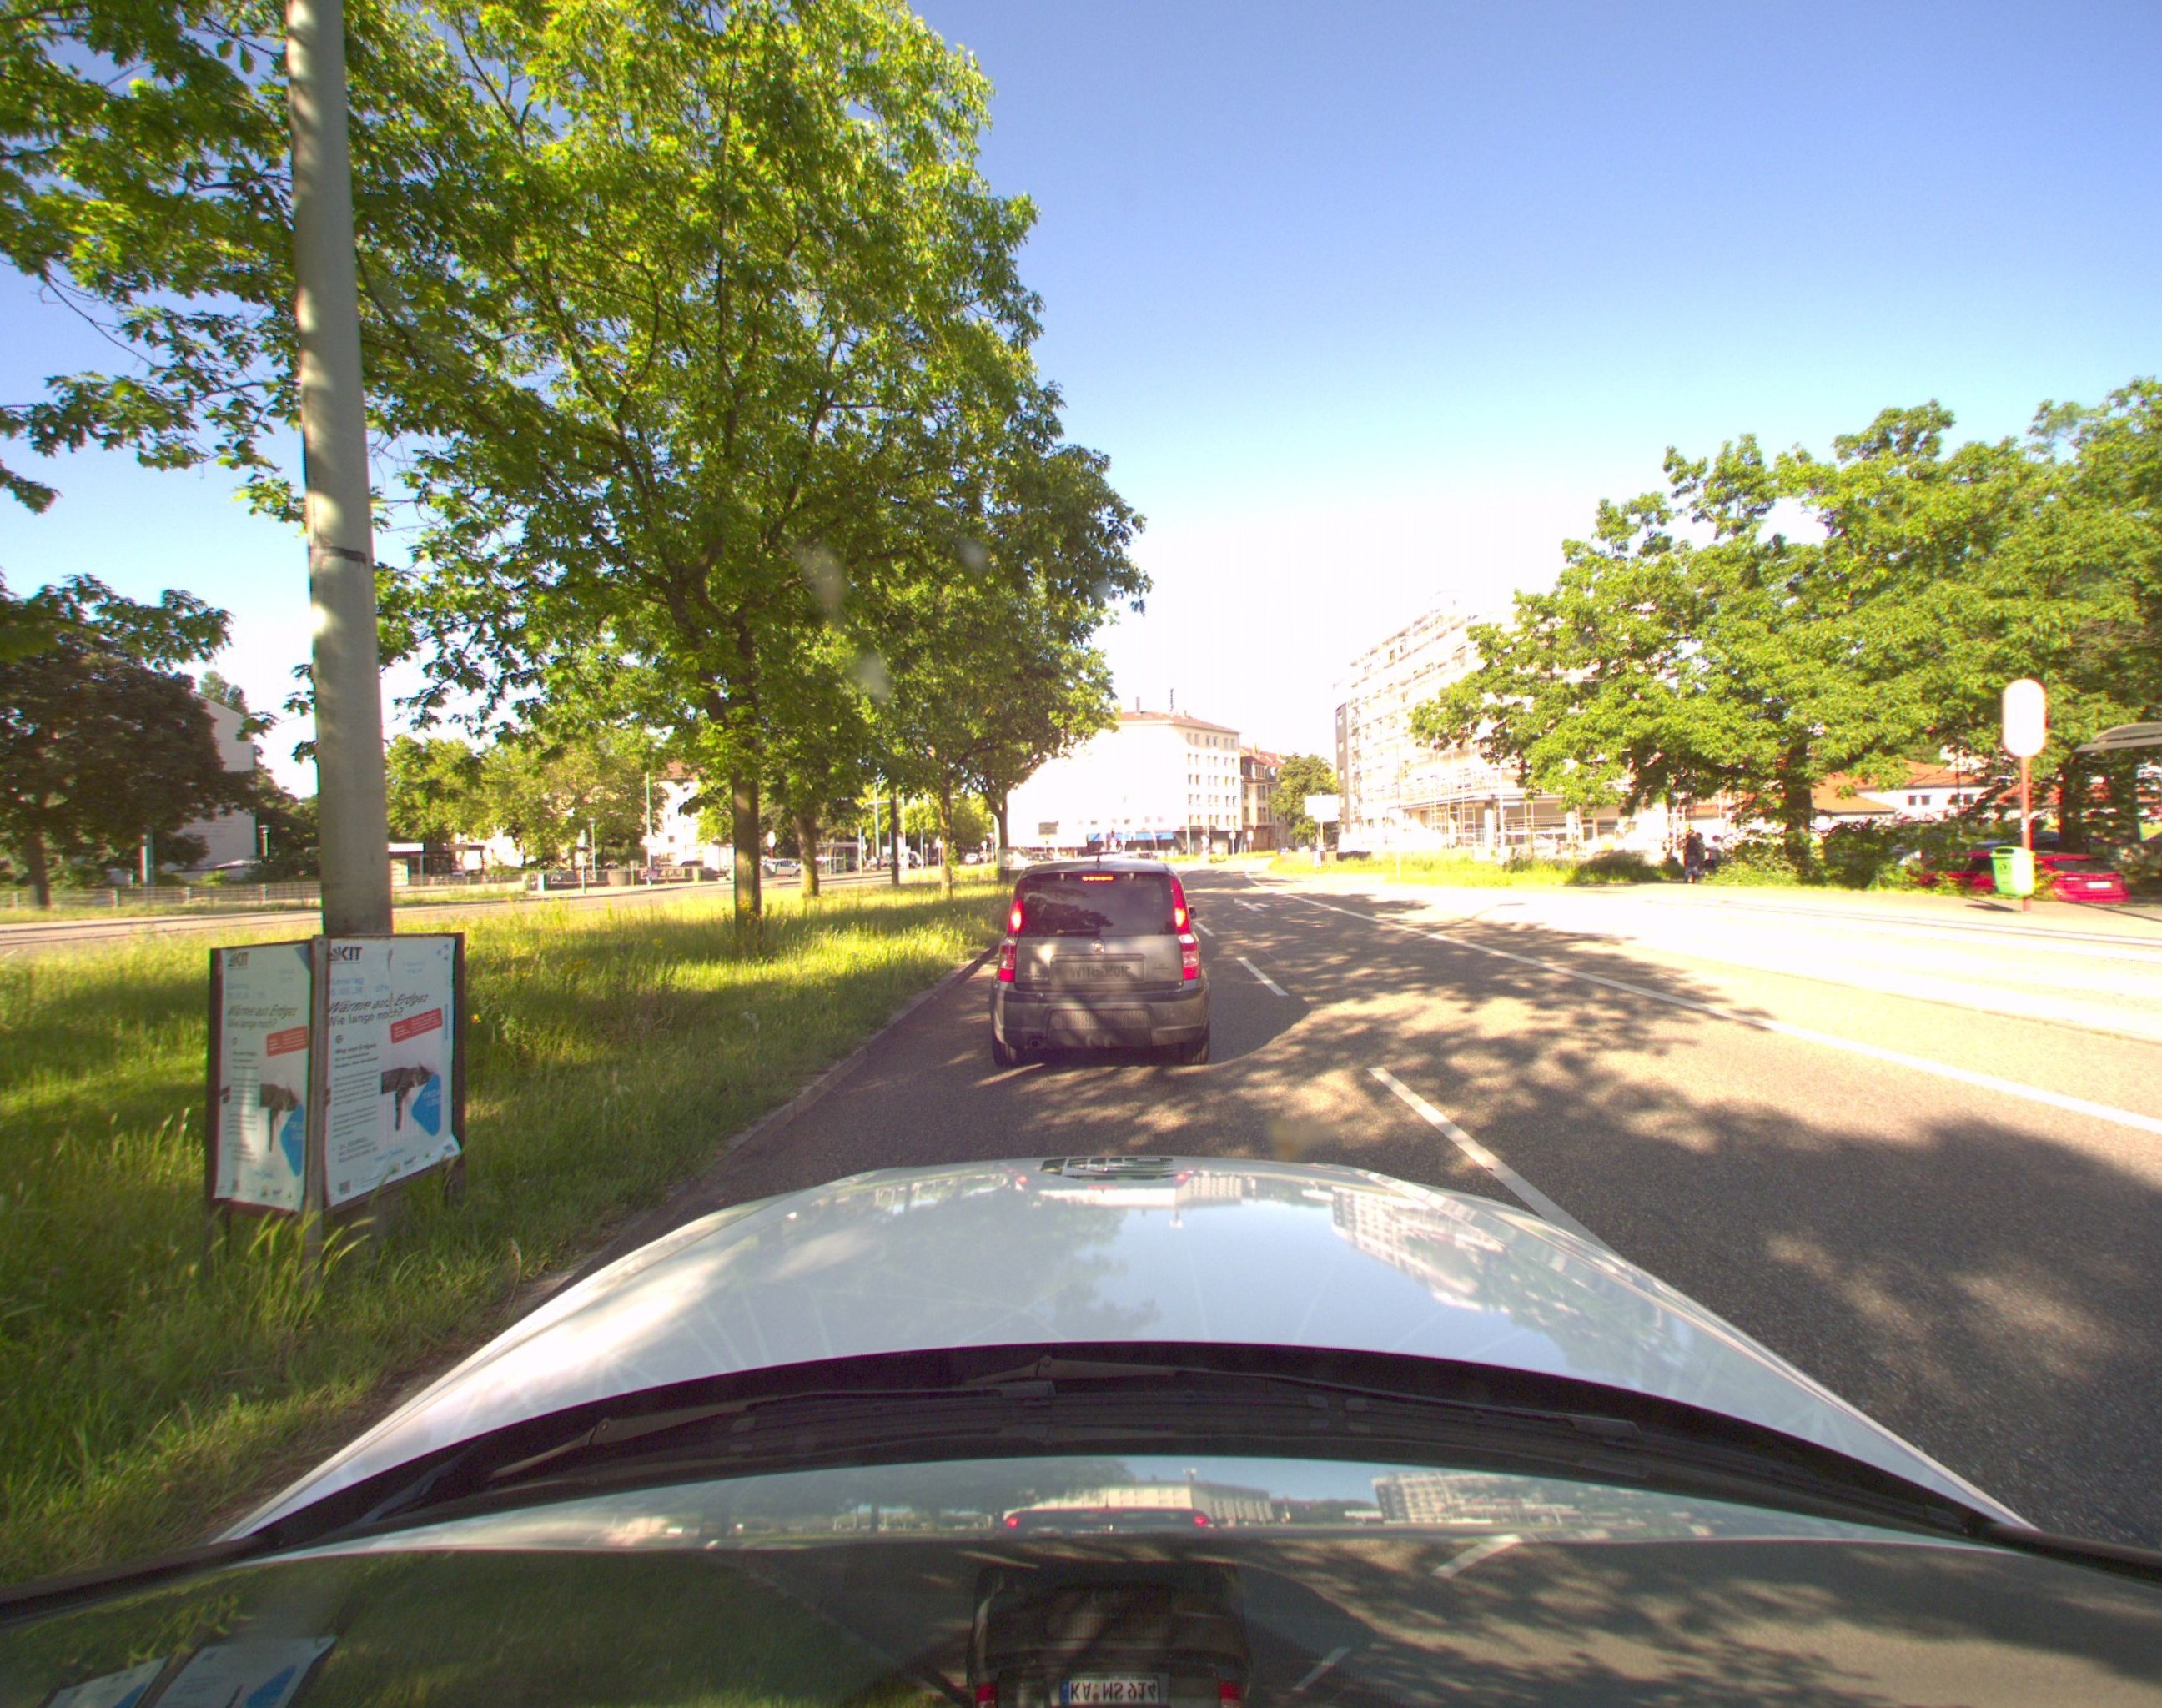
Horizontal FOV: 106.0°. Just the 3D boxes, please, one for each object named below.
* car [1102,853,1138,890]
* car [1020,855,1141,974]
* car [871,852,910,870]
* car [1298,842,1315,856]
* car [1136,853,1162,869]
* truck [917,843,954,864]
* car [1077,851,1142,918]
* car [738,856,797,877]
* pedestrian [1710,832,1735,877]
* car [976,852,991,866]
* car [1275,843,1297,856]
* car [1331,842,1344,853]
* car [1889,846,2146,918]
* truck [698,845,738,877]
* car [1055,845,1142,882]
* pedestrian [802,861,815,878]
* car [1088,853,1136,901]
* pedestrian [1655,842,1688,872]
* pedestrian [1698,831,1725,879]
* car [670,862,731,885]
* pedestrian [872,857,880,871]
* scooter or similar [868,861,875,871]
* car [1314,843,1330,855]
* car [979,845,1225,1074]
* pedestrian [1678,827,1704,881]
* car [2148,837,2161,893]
[{"bbox_3d":[1.601,0.691,33.968,1.351,1.449,3.267,-2,0,2],"label":"car"},{"bbox_3d":[0.050,0.750,11.763,1.458,1.401,3.395,-2,0,2],"label":"car"},{"bbox_3d":[-23.163,0.867,99.027,4.164,2.013,1.931,-2,0,-1],"label":"car"},{"bbox_3d":[24.913,-0.539,89.998,1.669,1.449,3.588,-2,0,18],"label":"car"},{"bbox_3d":[4.862,0.507,57.717,1.133,1.064,2.735,-2,0,19],"label":"car"},{"bbox_3d":[-23.011,-0.143,128.571,5.425,3.168,2.358,-2,0,30],"label":"truck"},{"bbox_3d":[0.722,0.698,20.683,1.458,1.508,3.506,-2,0,2],"label":"car"},{"bbox_3d":[-27.320,1.068,71.067,1.974,1.684,4.348,-2,0,40],"label":"car"},{"bbox_3d":[20.897,0.013,26.549,0.516,1.447,0.595,-2,0,28],"label":"pedestrian"},{"bbox_3d":[-14.845,0.709,124.160,1.988,2.013,3.997,-2,0,-2],"label":"car"},{"bbox_3d":[23.208,-0.506,92.192,1.666,1.449,3.593,-2,0,26],"label":"car"},{"bbox_3d":[35.257,-0.890,111.885,1.514,1.469,3.304,-2,0,20],"label":"car"},{"bbox_3d":[21.987,0.597,19.376,1.747,1.486,3.743,-2,0,-2],"label":"car"},{"bbox_3d":[-33.077,0.632,74.203,2.012,2.805,3.951,-2,0,-44],"label":"truck"},{"bbox_3d":[0.998,0.534,44.500,4.417,1.648,1.837,-4,-5,11],"label":"car"},{"bbox_3d":[-26.336,1.486,78.653,0.910,1.607,0.802,-2,0,41],"label":"pedestrian"},{"bbox_3d":[1.028,0.727,27.350,1.458,1.424,3.383,-2,0,2],"label":"car"},{"bbox_3d":[29.509,0.141,40.682,0.894,1.447,0.960,-2,0,-17],"label":"pedestrian"},{"bbox_3d":[19.135,0.028,24.725,0.516,1.447,0.595,-2,0,28],"label":"pedestrian"},{"bbox_3d":[-31.193,1.601,66.831,1.974,1.684,4.025,-2,0,40],"label":"car"},{"bbox_3d":[-19.940,0.963,79.170,0.411,1.391,0.630,-2,0,28],"label":"pedestrian"},{"bbox_3d":[-20.209,1.194,78.656,0.416,0.927,0.537,-2,0,28],"label":"scooter or similar"},{"bbox_3d":[27.624,-0.590,93.428,1.514,1.314,3.304,-2,0,20],"label":"car"},{"bbox_3d":[0.205,0.702,7.535,1.622,1.508,4.002,-2,0,2],"label":"car"},{"bbox_3d":[18.532,0.013,24.758,0.516,1.612,0.595,-2,0,28],"label":"pedestrian"},{"bbox_3d":[29.863,0.261,20.180,1.911,1.486,3.725,-2,0,-17],"label":"car"}]
